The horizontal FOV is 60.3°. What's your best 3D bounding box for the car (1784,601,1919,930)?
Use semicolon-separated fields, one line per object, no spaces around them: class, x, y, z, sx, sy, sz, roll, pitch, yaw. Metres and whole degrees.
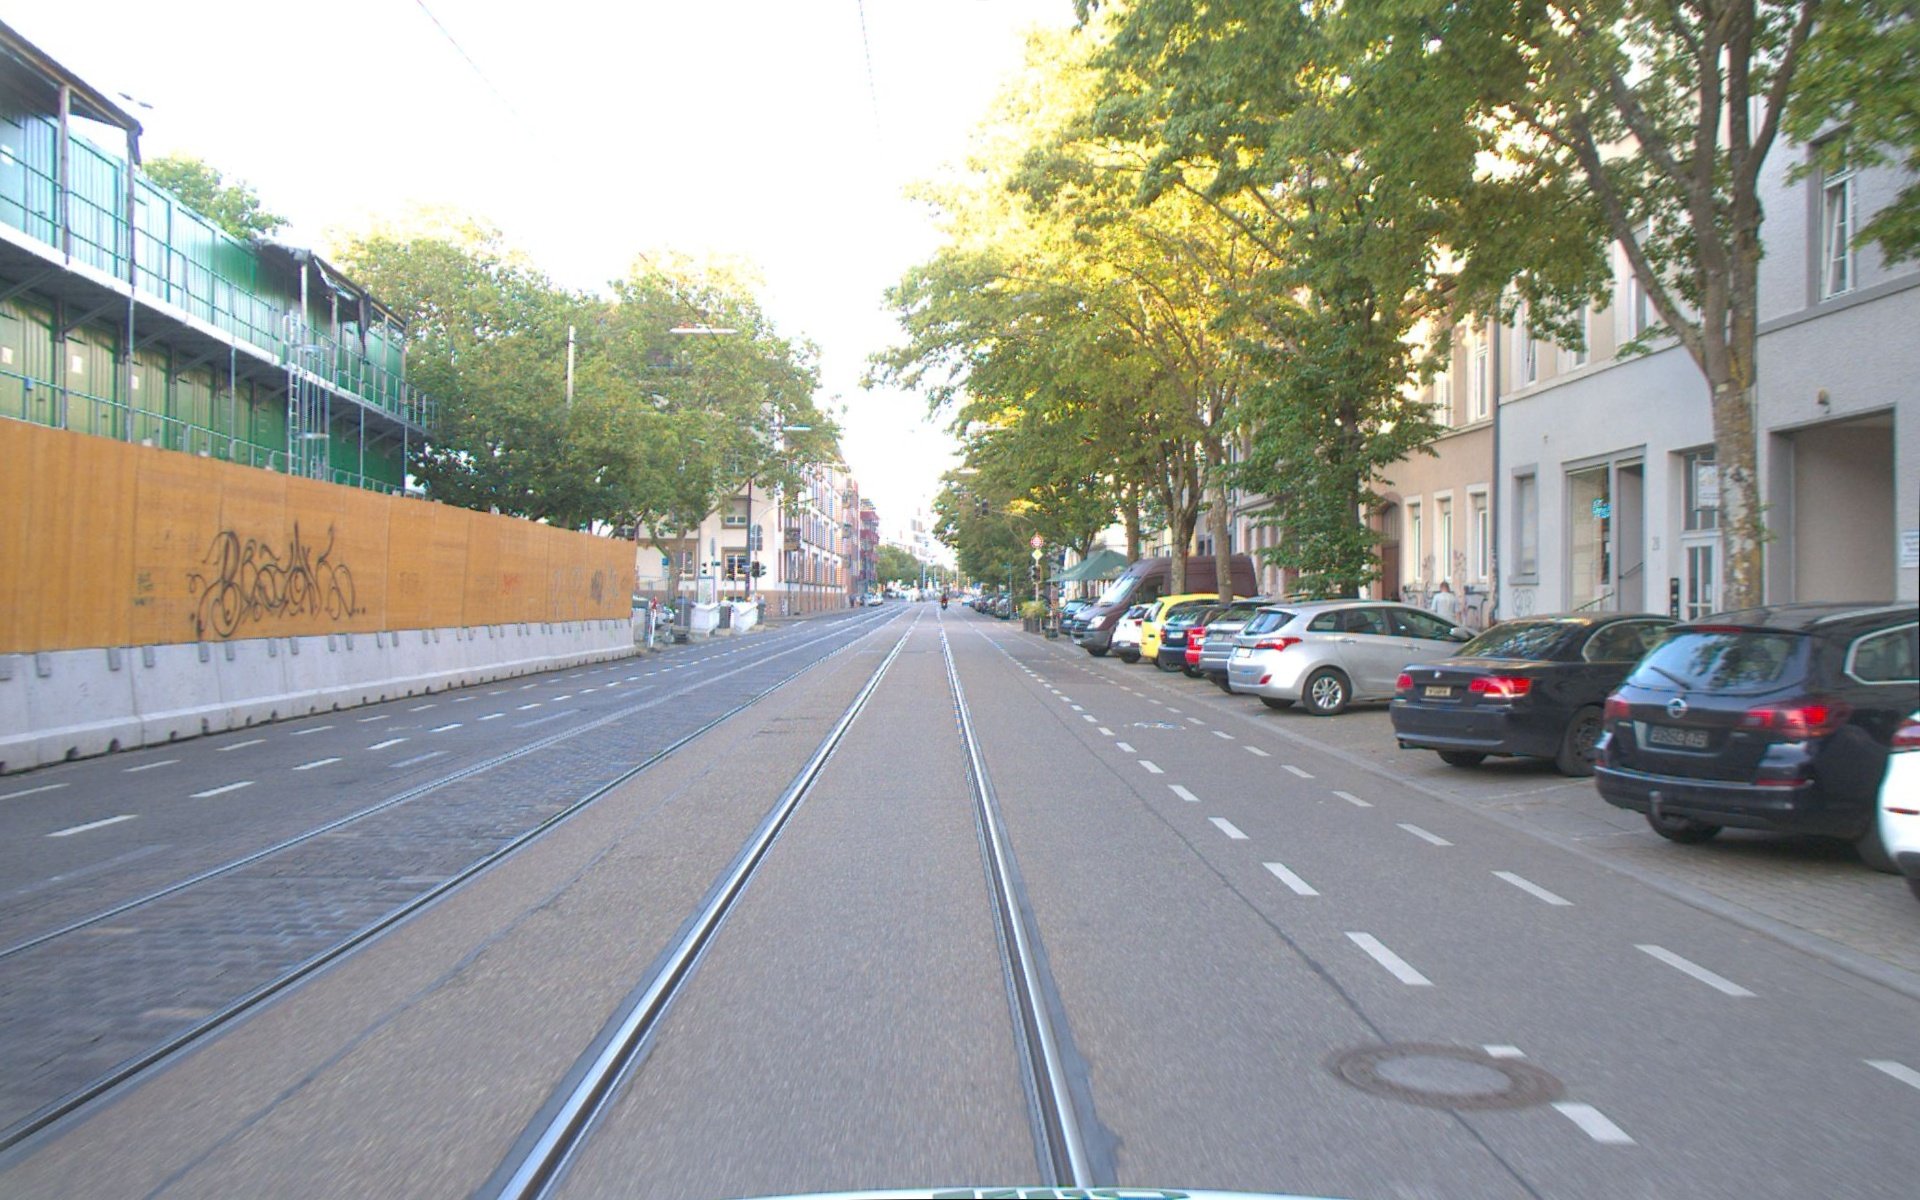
car;6.421;0.692;8.328;4.065;1.496;1.971;-3;1;-26

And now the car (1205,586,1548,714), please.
car;5.750;0.659;23.043;4.175;1.576;2.014;-1;0;-12

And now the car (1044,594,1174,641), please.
car;5.234;0.602;58.085;4.123;1.525;1.992;-1;0;-26

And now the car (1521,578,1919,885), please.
car;5.868;0.671;10.575;4.065;1.496;1.999;-3;1;-26

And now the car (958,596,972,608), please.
car;0.724;0.256;243.190;1.923;1.748;3.999;1;0;-1

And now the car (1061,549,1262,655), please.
car;5.464;0.038;44.976;5.016;2.689;2.011;-2;0;-18

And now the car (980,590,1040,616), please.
car;3.228;0.210;107.447;3.808;1.620;1.861;1;0;0

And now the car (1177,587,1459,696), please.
car;5.847;0.645;27.017;4.195;1.588;1.884;-1;0;-24

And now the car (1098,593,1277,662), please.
car;5.547;0.660;40.295;3.900;1.512;1.906;-1;-1;-25

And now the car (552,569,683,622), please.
car;-14.347;-0.195;69.430;4.921;1.979;2.228;2;1;3

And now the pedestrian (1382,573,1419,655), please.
pedestrian;8.732;0.276;32.825;0.527;1.595;0.813;0;0;1

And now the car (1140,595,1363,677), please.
car;5.834;0.692;33.063;4.071;1.450;1.904;-1;0;-27

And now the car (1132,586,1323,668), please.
car;5.849;0.581;36.485;3.870;1.648;1.920;-2;0;-1

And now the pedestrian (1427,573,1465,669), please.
pedestrian;9.457;0.409;32.196;0.554;1.846;0.606;0;0;-2

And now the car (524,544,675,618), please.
car;-13.797;-0.732;63.597;5.293;2.603;2.225;2;0;-4

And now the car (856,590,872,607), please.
car;-12.609;-0.229;217.015;1.859;2.216;3.999;1;0;-1

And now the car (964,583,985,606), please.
car;1.338;-0.513;152.837;1.768;2.049;3.999;1;0;-1

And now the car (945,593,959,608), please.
car;-1.174;0.069;232.069;1.859;2.049;3.999;1;0;-1

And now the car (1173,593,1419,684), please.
car;6.088;0.668;29.937;4.071;1.450;1.882;-1;0;-27

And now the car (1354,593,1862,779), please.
car;5.940;0.699;15.186;4.196;1.416;2.000;-1;0;-25

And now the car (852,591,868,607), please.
car;-12.798;-0.103;212.367;1.859;2.049;3.999;1;0;-1
